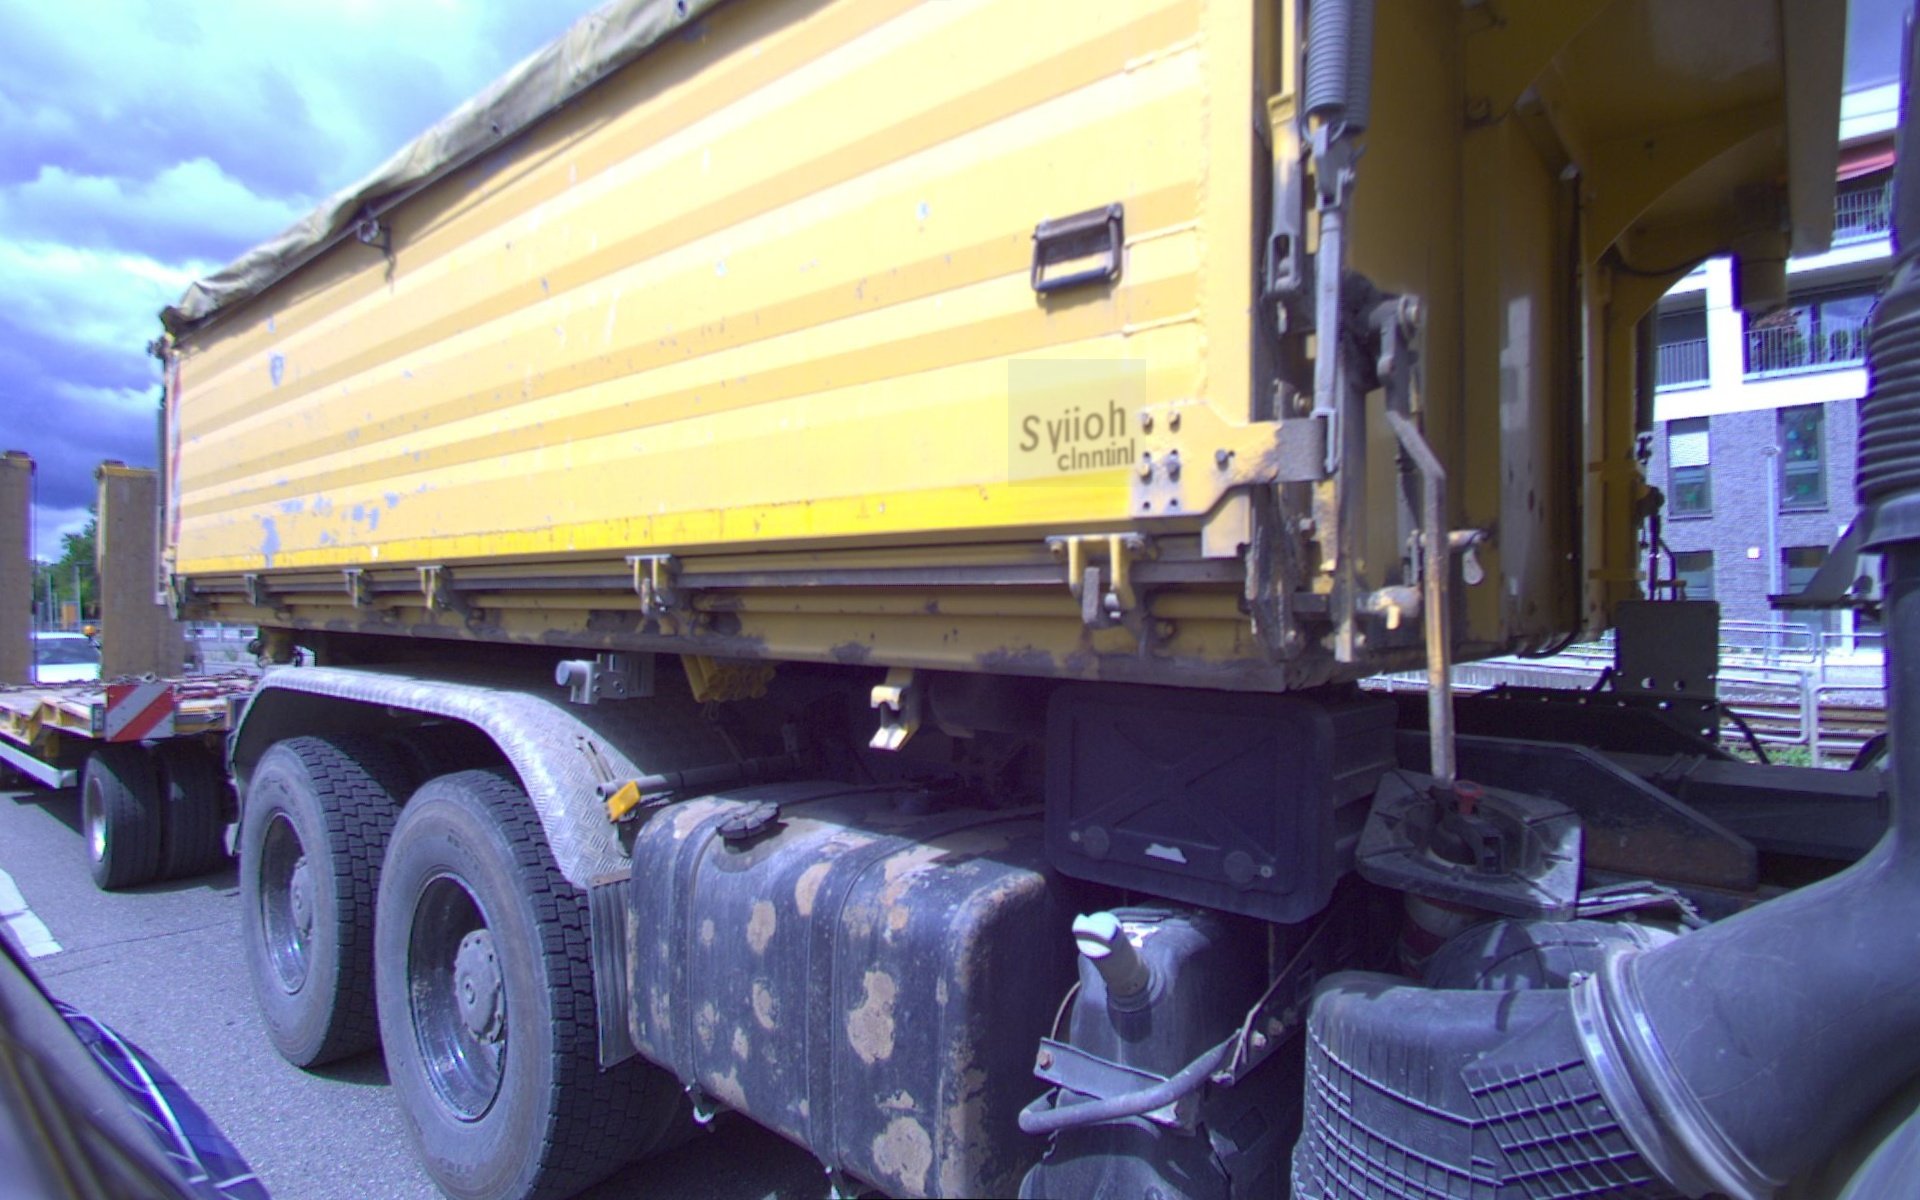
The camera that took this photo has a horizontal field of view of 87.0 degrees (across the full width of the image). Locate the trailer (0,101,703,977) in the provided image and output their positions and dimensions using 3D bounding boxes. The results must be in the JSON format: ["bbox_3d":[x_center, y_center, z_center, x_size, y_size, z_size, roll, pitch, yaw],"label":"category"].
[{"bbox_3d":[-6.848,-0.139,9.015,10.957,3.726,3.018,-2,-1,40],"label":"trailer"}]

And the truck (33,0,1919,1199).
[{"bbox_3d":[0.117,-0.223,2.853,7.999,3.420,3.019,-2,-1,40],"label":"truck"}]

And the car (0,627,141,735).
[{"bbox_3d":[-13.973,1.152,15.384,3.784,1.427,1.761,-2,-1,41],"label":"car"}]
